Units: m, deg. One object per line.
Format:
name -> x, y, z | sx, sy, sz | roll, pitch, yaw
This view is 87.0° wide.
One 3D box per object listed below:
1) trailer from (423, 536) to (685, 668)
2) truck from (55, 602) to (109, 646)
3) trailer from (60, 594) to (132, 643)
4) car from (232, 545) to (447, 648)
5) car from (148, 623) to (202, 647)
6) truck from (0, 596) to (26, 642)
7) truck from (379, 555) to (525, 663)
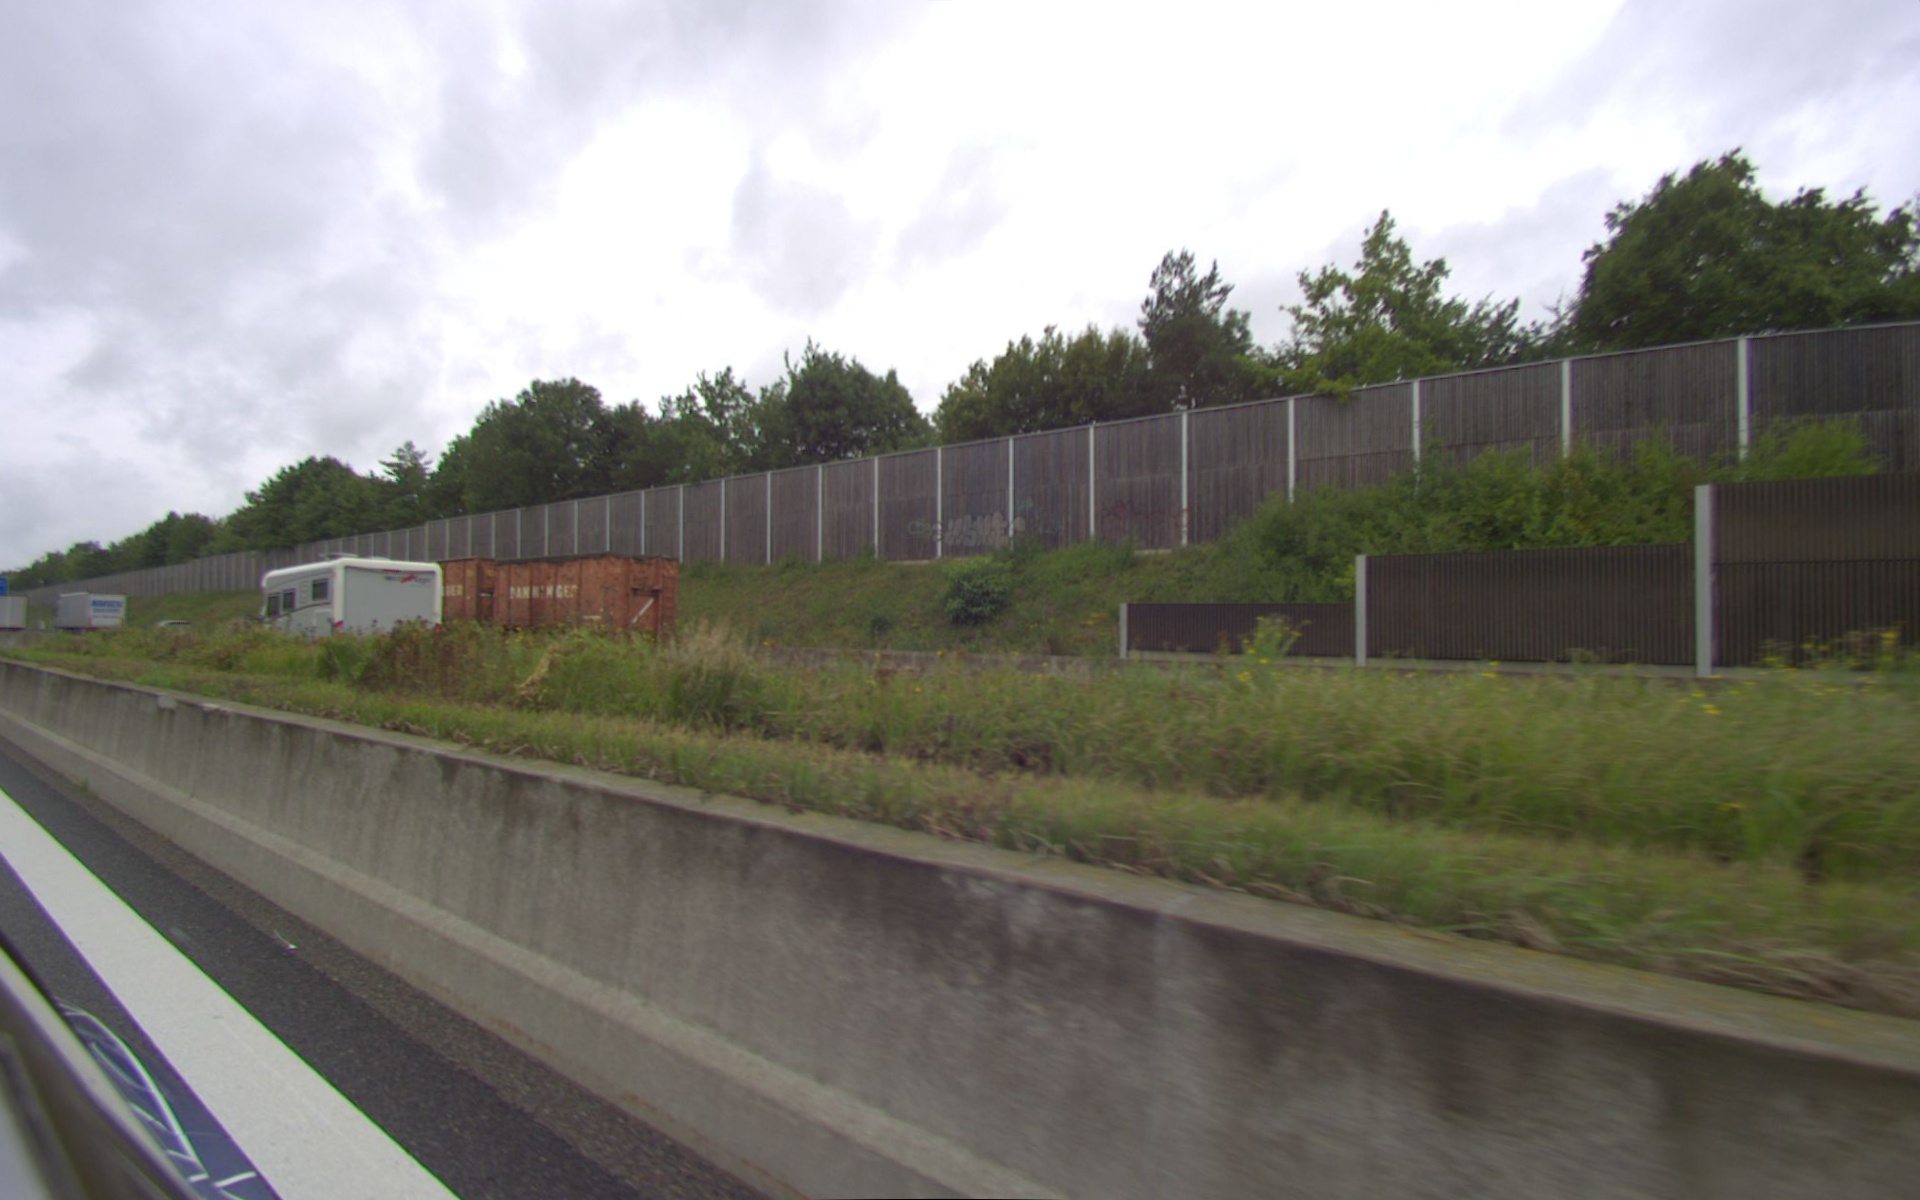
trailer -> -13.849, 0.166, 33.531 | 12.556, 3.712, 2.698 | -1, -2, 41
truck -> -79.485, 2.186, 91.560 | 5.886, 3.825, 2.859 | -1, -2, 41
trailer -> -74.827, 1.614, 87.518 | 12.436, 3.966, 2.873 | -1, -2, 41
car -> -15.541, -0.019, 25.076 | 7.720, 2.209, 2.349 | -1, -1, 41
car -> -52.568, 2.337, 67.727 | 4.479, 1.549, 1.973 | -1, -3, 41
truck -> -96.053, 1.912, 100.833 | 12.675, 4.357, 3.118 | -1, 0, 42
truck -> -19.289, 0.321, 38.276 | 6.477, 3.734, 2.668 | -1, 0, 41
